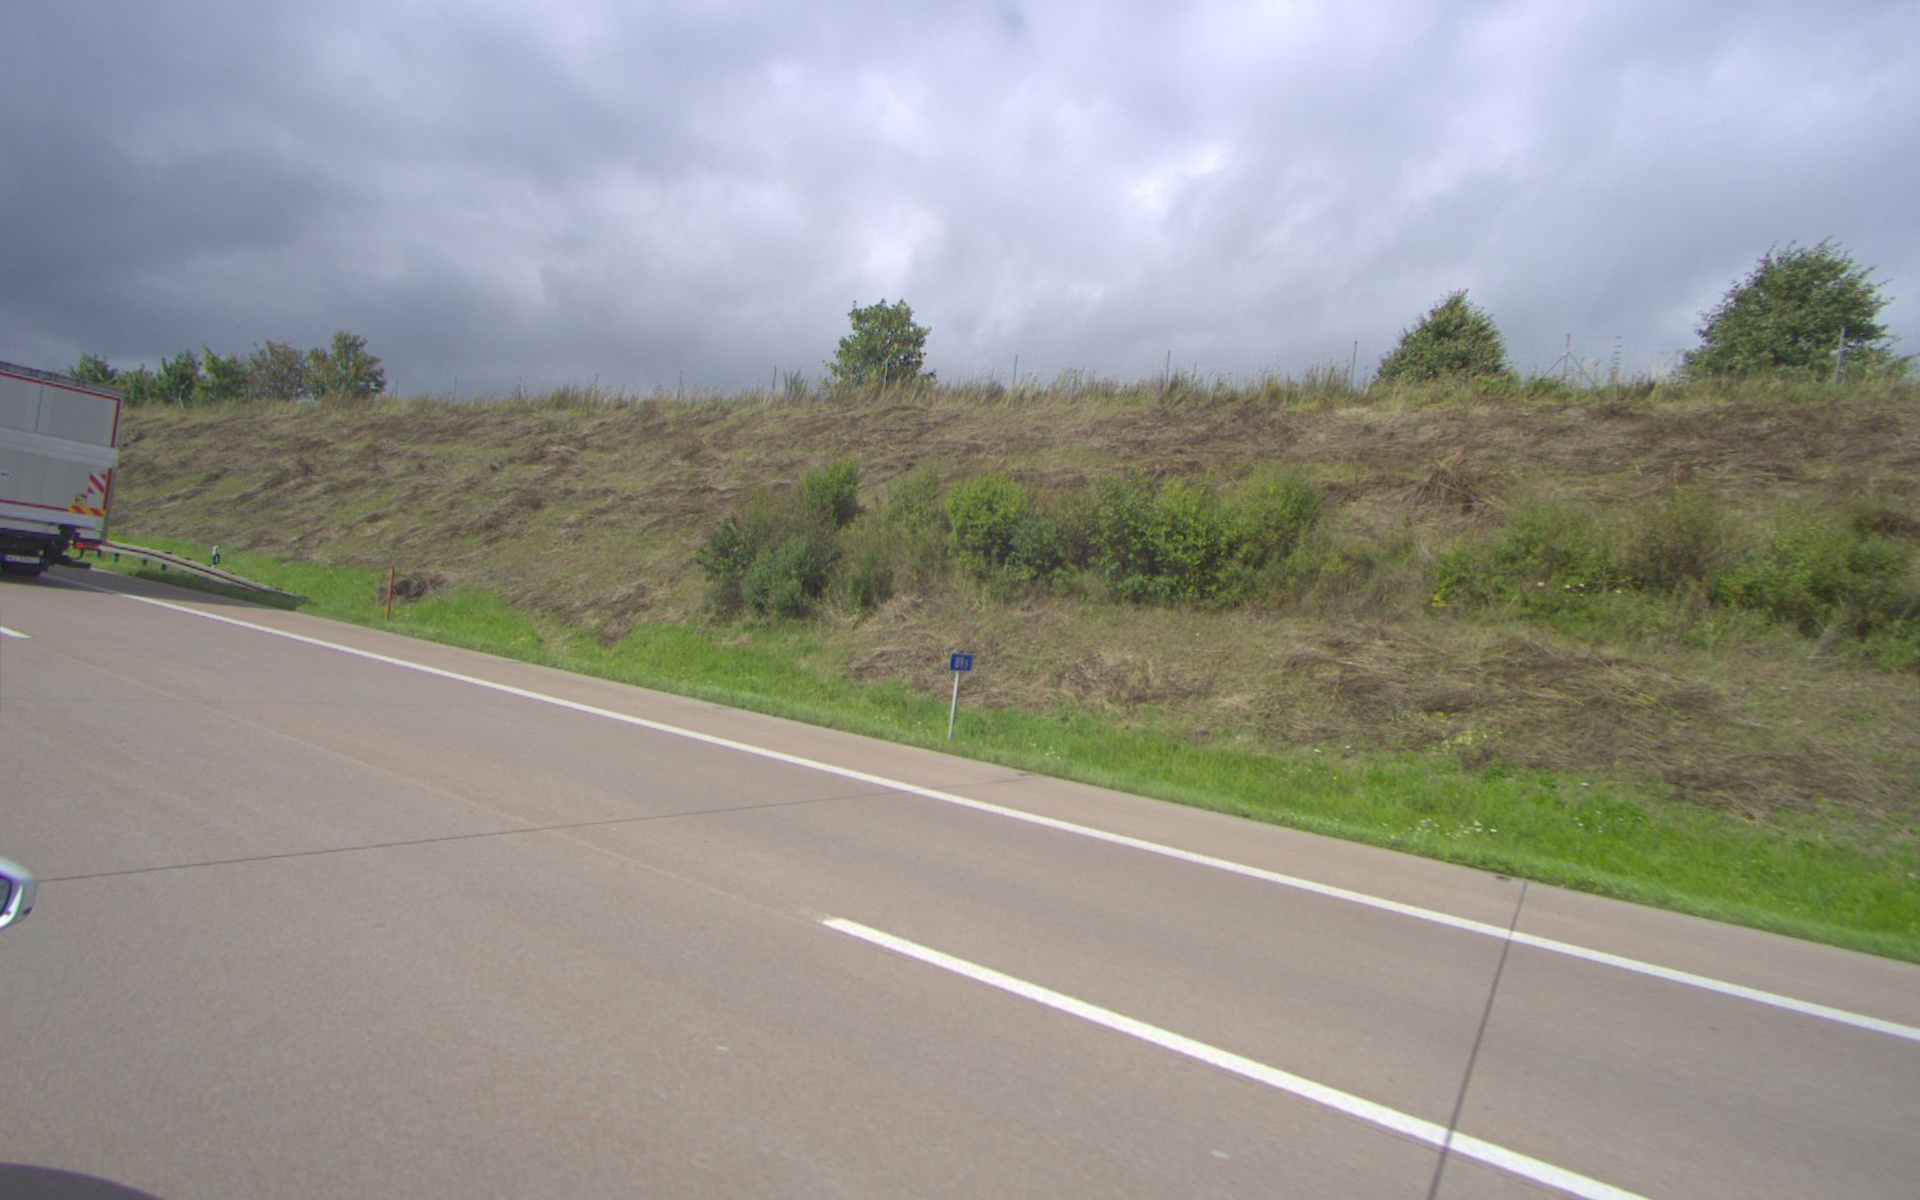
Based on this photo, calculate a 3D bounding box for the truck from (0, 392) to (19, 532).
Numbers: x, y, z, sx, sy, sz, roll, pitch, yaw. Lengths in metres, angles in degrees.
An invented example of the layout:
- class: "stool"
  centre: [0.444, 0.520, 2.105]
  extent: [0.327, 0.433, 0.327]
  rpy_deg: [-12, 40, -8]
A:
- class: "truck"
  centre: [-24.648, -3.137, 23.246]
  extent: [4.469, 3.937, 2.755]
  rpy_deg: [7, -1, 31]

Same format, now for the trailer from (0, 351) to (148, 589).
- class: "trailer"
  centre: [-20.664, -2.770, 20.895]
  extent: [8.525, 4.058, 2.753]
  rpy_deg: [6, -2, 31]
